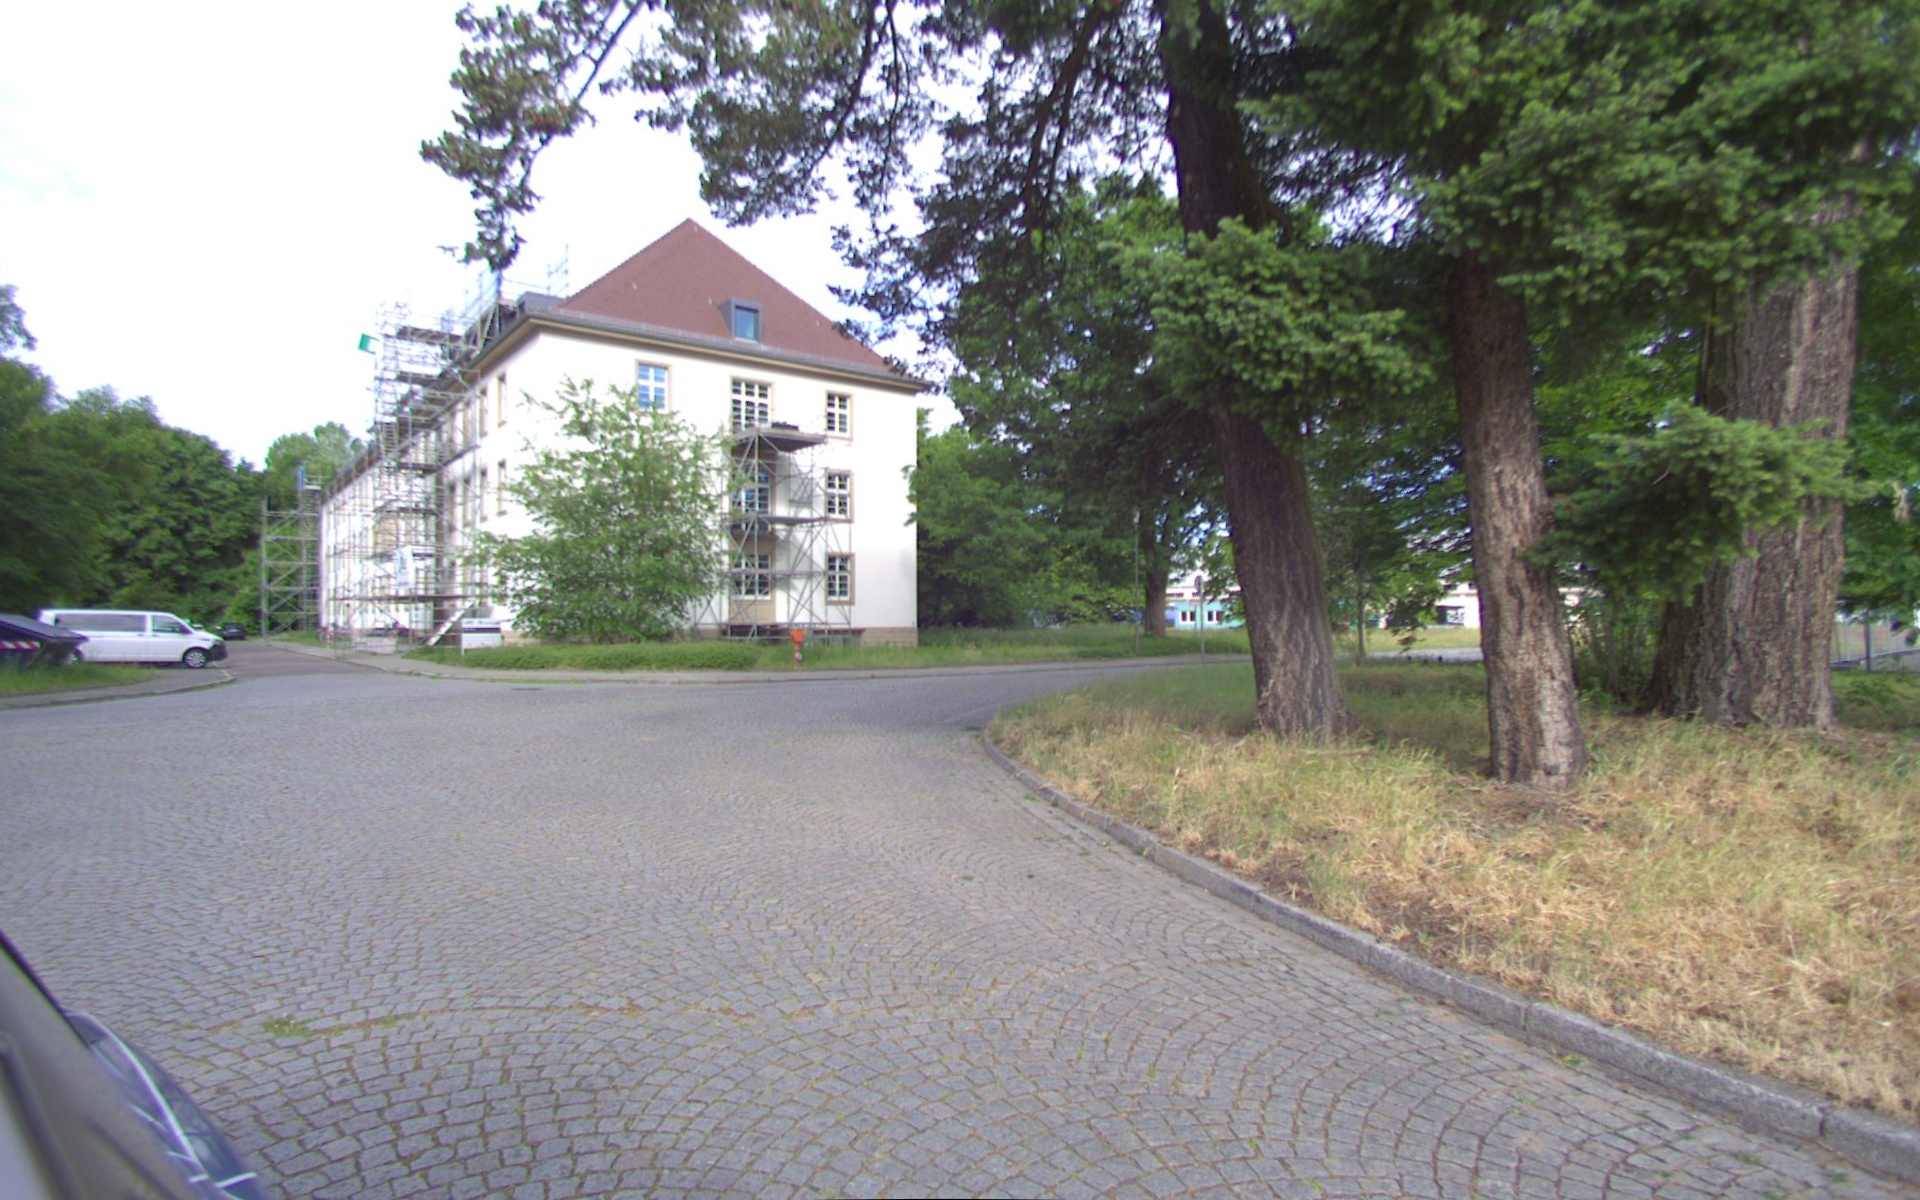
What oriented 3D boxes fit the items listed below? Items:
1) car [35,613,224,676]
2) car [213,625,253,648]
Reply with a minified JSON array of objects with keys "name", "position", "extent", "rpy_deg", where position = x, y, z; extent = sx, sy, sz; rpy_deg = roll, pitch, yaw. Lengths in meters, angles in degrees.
[{"name":"car","position":[-28.173,1.463,34.493],"extent":[4.842,2.010,2.003],"rpy_deg":[1,-2,-41]},{"name":"car","position":[-64.751,3.235,90.145],"extent":[3.998,1.941,2.001],"rpy_deg":[-2,-2,41]}]
